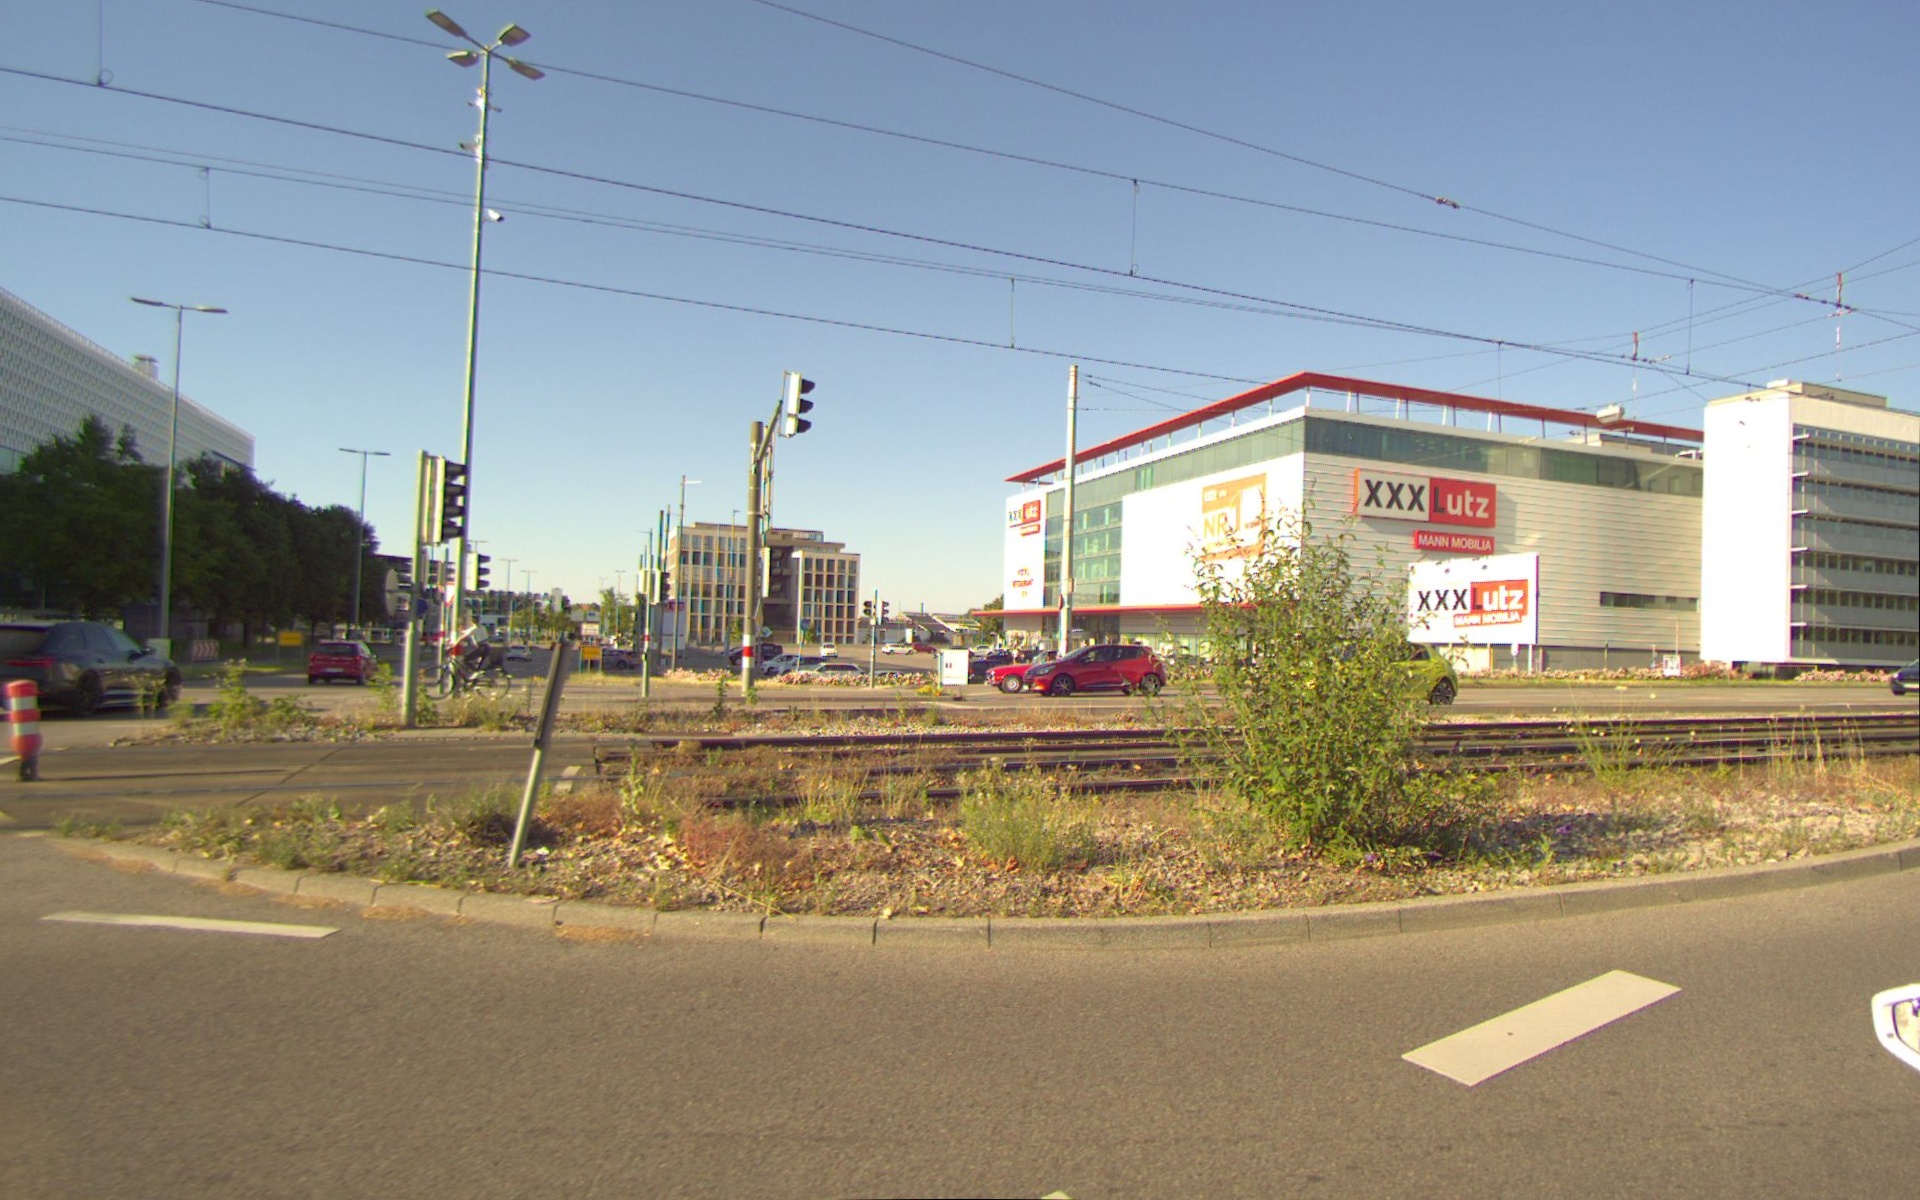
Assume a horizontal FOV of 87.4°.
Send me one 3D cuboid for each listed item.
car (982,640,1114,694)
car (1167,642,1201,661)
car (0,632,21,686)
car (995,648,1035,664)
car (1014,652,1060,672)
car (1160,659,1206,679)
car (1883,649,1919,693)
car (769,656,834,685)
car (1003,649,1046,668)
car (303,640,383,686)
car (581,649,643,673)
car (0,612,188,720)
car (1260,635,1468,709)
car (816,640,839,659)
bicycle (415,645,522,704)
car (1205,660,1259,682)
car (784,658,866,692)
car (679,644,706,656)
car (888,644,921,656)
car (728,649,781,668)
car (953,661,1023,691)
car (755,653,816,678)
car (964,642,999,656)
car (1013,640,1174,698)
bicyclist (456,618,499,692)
[{"bbox_3d":[2.780,2.148,32.190,3.926,1.664,1.825,1,-3,-8],"label":"car"},{"bbox_3d":[23.990,5.541,107.433,3.240,1.880,1.504,2,1,-20],"label":"car"},{"bbox_3d":[-27.651,1.552,27.079,1.988,1.517,4.235,3,-5,-23],"label":"car"},{"bbox_3d":[6.085,6.182,111.092,3.947,1.640,1.867,2,1,-26],"label":"car"},{"bbox_3d":[7.577,6.089,98.962,3.943,1.838,1.989,2,1,-23],"label":"car"},{"bbox_3d":[21.476,6.612,96.754,3.943,1.725,1.916,2,1,-23],"label":"car"},{"bbox_3d":[34.639,2.514,35.257,4.080,1.480,1.852,2,-2,-24],"label":"car"},{"bbox_3d":[-10.753,4.728,68.026,3.947,1.768,1.923,2,1,-26],"label":"car"},{"bbox_3d":[6.559,5.925,102.035,3.943,1.725,1.969,2,1,-23],"label":"car"},{"bbox_3d":[-21.319,2.198,34.820,1.746,1.478,3.568,3,-5,-23],"label":"car"},{"bbox_3d":[-27.259,4.784,78.700,4.163,1.589,1.909,2,1,2],"label":"car"},{"bbox_3d":[-13.921,1.008,15.572,1.893,1.476,4.073,2,-4,-20],"label":"car"},{"bbox_3d":[8.654,1.523,21.543,4.048,1.466,1.781,2,-3,-22],"label":"car"},{"bbox_3d":[-15.441,5.759,117.173,1.798,1.824,4.211,2,1,-19],"label":"car"},{"bbox_3d":[-10.437,1.581,21.407,1.962,1.183,0.587,2,-1,-22],"label":"bicycle"},{"bbox_3d":[23.960,6.230,88.444,4.385,1.725,1.916,2,1,-23],"label":"car"},{"bbox_3d":[-7.920,4.363,58.879,4.360,1.733,1.986,2,1,-27],"label":"car"},{"bbox_3d":[-43.867,8.140,164.670,3.941,1.805,1.990,2,1,-21],"label":"car"},{"bbox_3d":[-7.440,6.746,134.543,3.939,1.468,1.871,2,1,-20],"label":"car"},{"bbox_3d":[-18.375,5.256,89.979,4.382,1.573,1.661,2,1,-27],"label":"car"},{"bbox_3d":[1.702,4.705,62.001,3.933,1.746,1.865,1,-2,-15],"label":"car"},{"bbox_3d":[-12.671,4.749,72.805,3.947,1.614,1.923,2,1,-26],"label":"car"},{"bbox_3d":[2.637,5.995,123.564,3.951,1.640,1.865,2,1,-28],"label":"car"},{"bbox_3d":[3.709,1.950,28.191,4.062,1.495,1.937,2,-4,-14],"label":"car"},{"bbox_3d":[-10.302,1.165,21.467,0.740,1.543,0.587,2,-1,-21],"label":"bicyclist"}]
